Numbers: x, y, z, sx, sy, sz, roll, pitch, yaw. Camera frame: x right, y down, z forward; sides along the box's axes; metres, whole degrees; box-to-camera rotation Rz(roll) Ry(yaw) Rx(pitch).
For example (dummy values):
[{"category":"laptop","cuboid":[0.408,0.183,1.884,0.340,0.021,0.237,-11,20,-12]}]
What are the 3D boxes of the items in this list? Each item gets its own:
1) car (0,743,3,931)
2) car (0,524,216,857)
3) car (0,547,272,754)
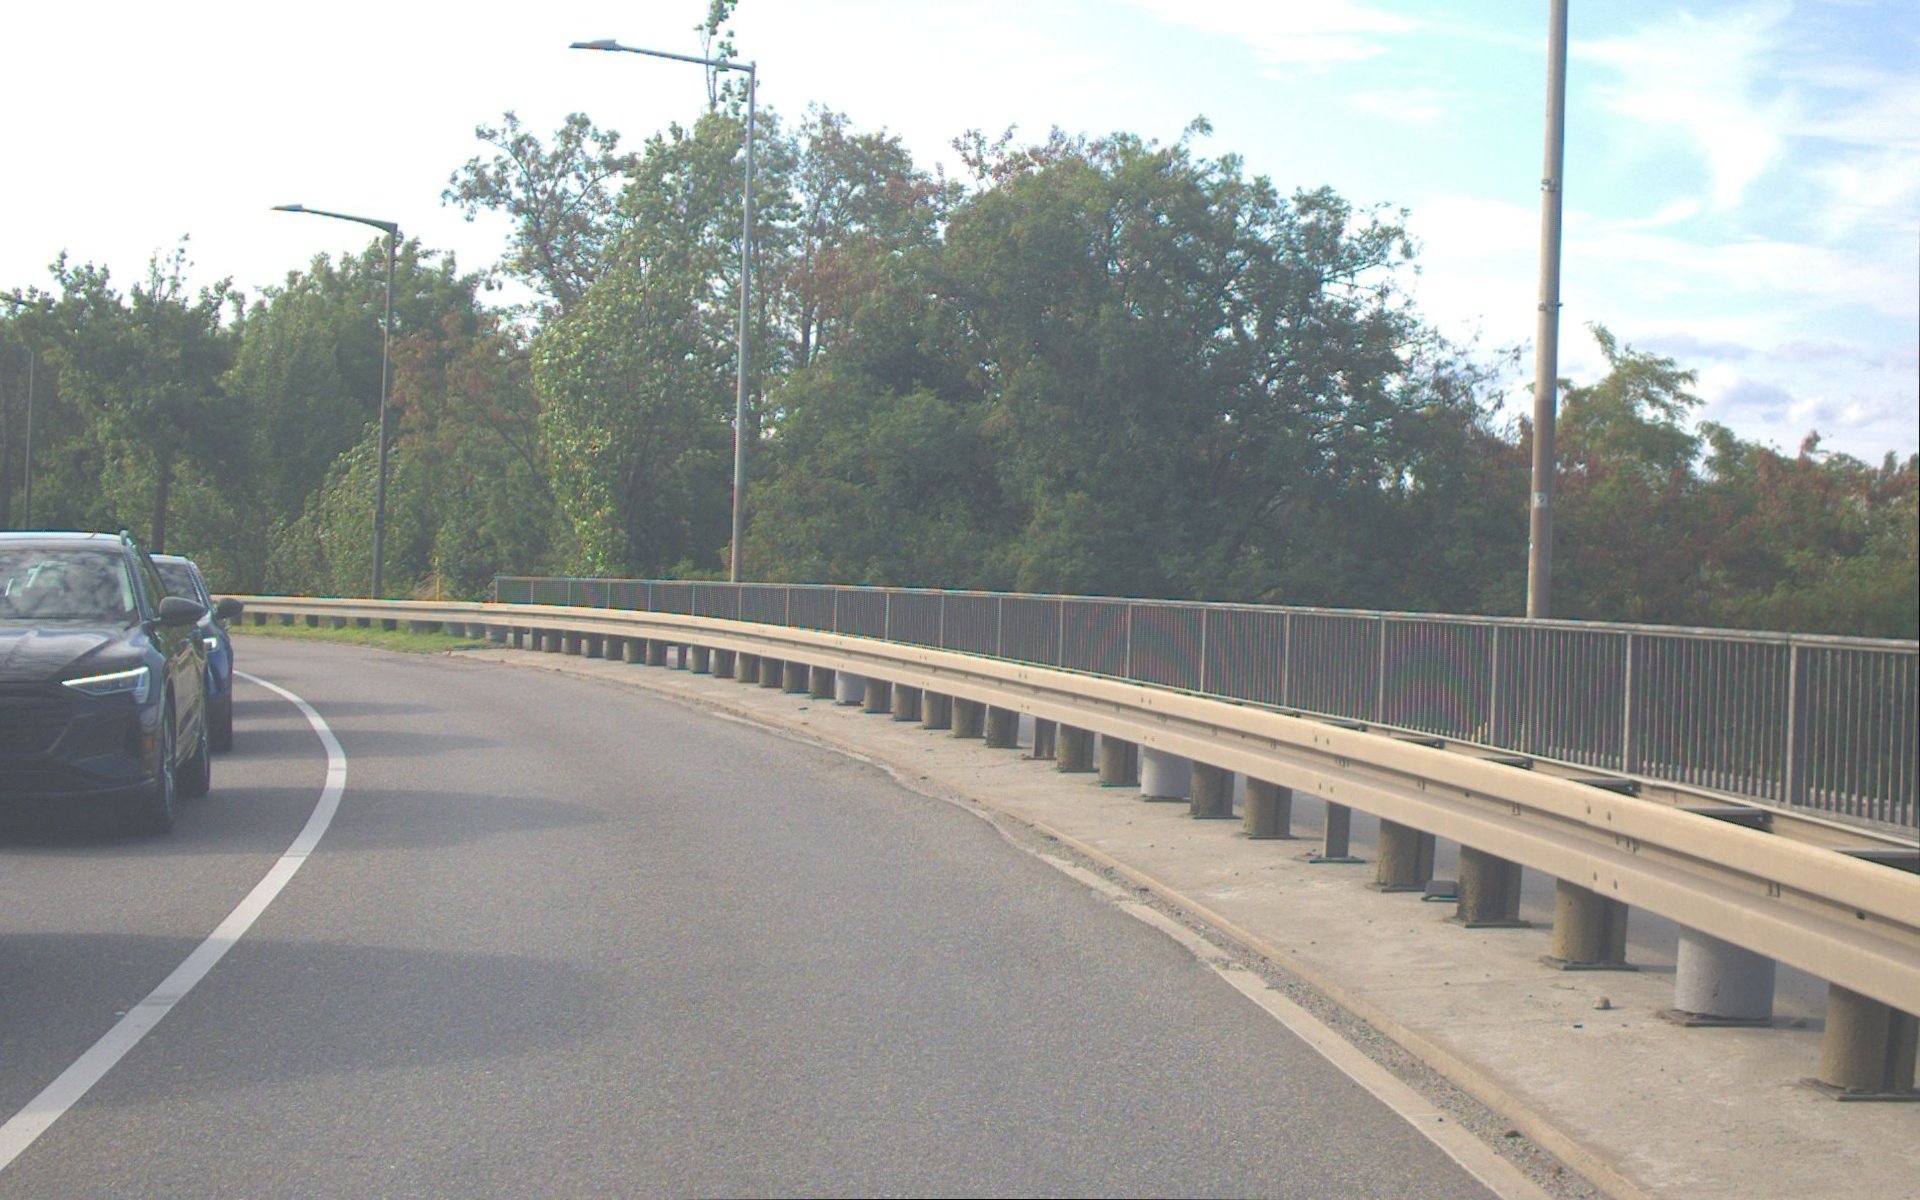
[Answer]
[{"category":"car","cuboid":[-4.404,0.517,11.262,1.681,1.643,4.299,-1,1,-5]},{"category":"car","cuboid":[-5.308,0.422,19.279,1.925,1.643,4.590,-1,1,-9]},{"category":"car","cuboid":[-6.526,0.342,27.542,1.798,1.514,4.009,-1,1,-9]}]
